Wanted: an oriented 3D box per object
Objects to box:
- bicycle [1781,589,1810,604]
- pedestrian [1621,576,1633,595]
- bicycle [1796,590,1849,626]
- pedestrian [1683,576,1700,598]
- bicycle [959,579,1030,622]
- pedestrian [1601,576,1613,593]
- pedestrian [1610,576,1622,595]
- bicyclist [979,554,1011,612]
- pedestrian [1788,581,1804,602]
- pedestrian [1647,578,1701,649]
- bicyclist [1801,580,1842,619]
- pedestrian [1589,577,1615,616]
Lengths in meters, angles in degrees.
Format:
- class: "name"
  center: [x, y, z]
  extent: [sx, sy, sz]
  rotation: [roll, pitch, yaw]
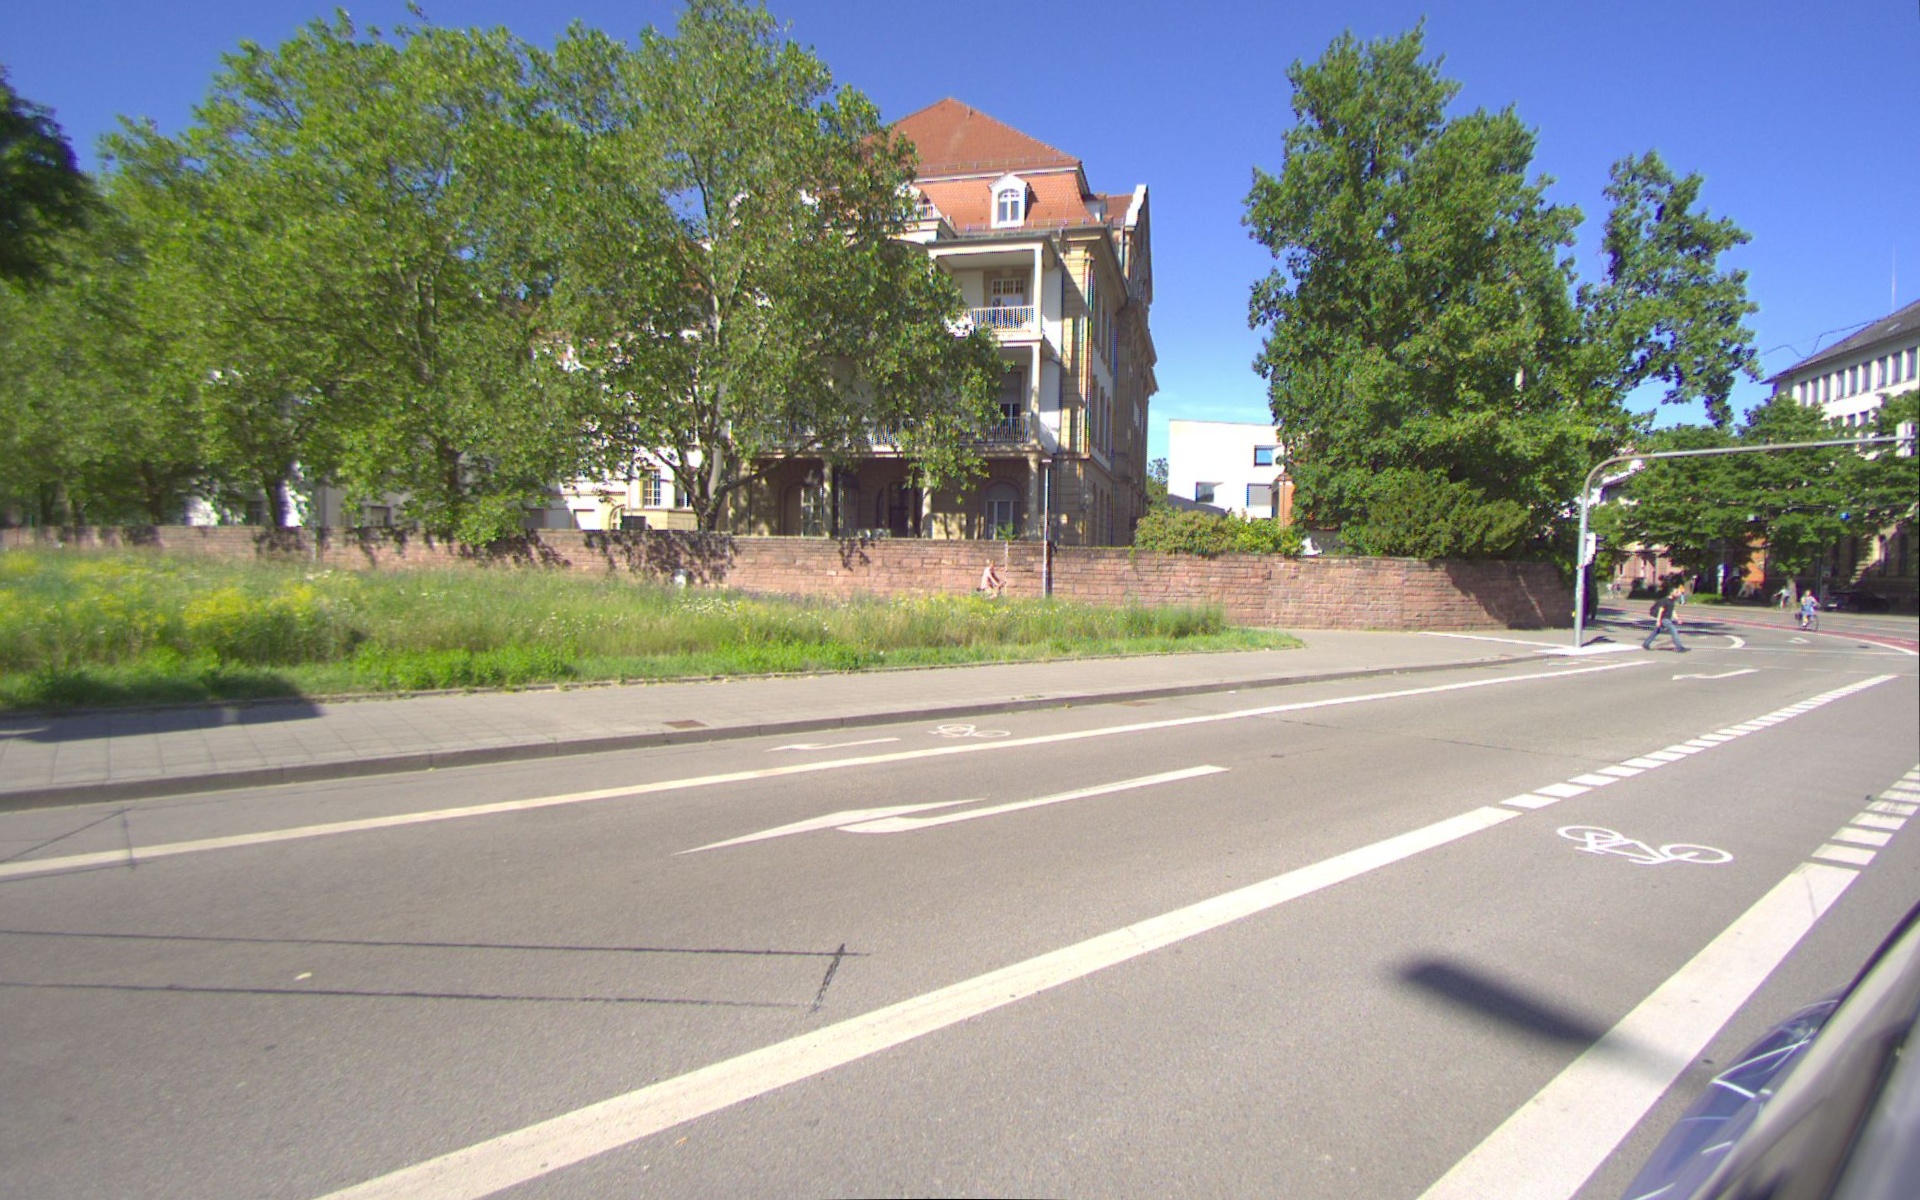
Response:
- class: "bicycle"
  center: [57.077, -0.261, 69.129]
  extent: [0.591, 1.019, 1.982]
  rotation: [0, 1, 9]
- class: "pedestrian"
  center: [67.642, -1.474, 102.628]
  extent: [0.747, 1.836, 0.974]
  rotation: [1, -2, 18]
- class: "bicycle"
  center: [36.034, 0.298, 42.330]
  extent: [0.753, 1.385, 2.720]
  rotation: [2, 2, 20]
- class: "pedestrian"
  center: [62.972, -1.137, 87.093]
  extent: [0.745, 1.835, 0.978]
  rotation: [1, 1, 9]
- class: "bicycle"
  center: [0.981, 0.015, 28.580]
  extent: [1.857, 1.083, 0.721]
  rotation: [4, 0, 14]
- class: "pedestrian"
  center: [69.822, -1.705, 109.243]
  extent: [0.745, 1.835, 0.978]
  rotation: [1, 1, 10]
- class: "pedestrian"
  center: [66.583, -1.470, 102.746]
  extent: [0.746, 1.836, 0.976]
  rotation: [1, -2, 14]
- class: "bicyclist"
  center: [0.995, -0.486, 28.583]
  extent: [0.766, 1.626, 0.720]
  rotation: [1, 1, 14]
- class: "pedestrian"
  center: [57.062, -0.564, 69.102]
  extent: [0.586, 1.420, 0.644]
  rotation: [0, 0, 10]
- class: "pedestrian"
  center: [19.694, 0.345, 27.927]
  extent: [0.718, 1.872, 0.961]
  rotation: [0, 3, -39]
- class: "bicyclist"
  center: [36.074, -0.047, 42.411]
  extent: [0.859, 1.579, 1.272]
  rotation: [2, 2, 20]
- class: "pedestrian"
  center: [29.772, -0.185, 46.936]
  extent: [0.935, 1.742, 0.983]
  rotation: [2, 2, 37]
